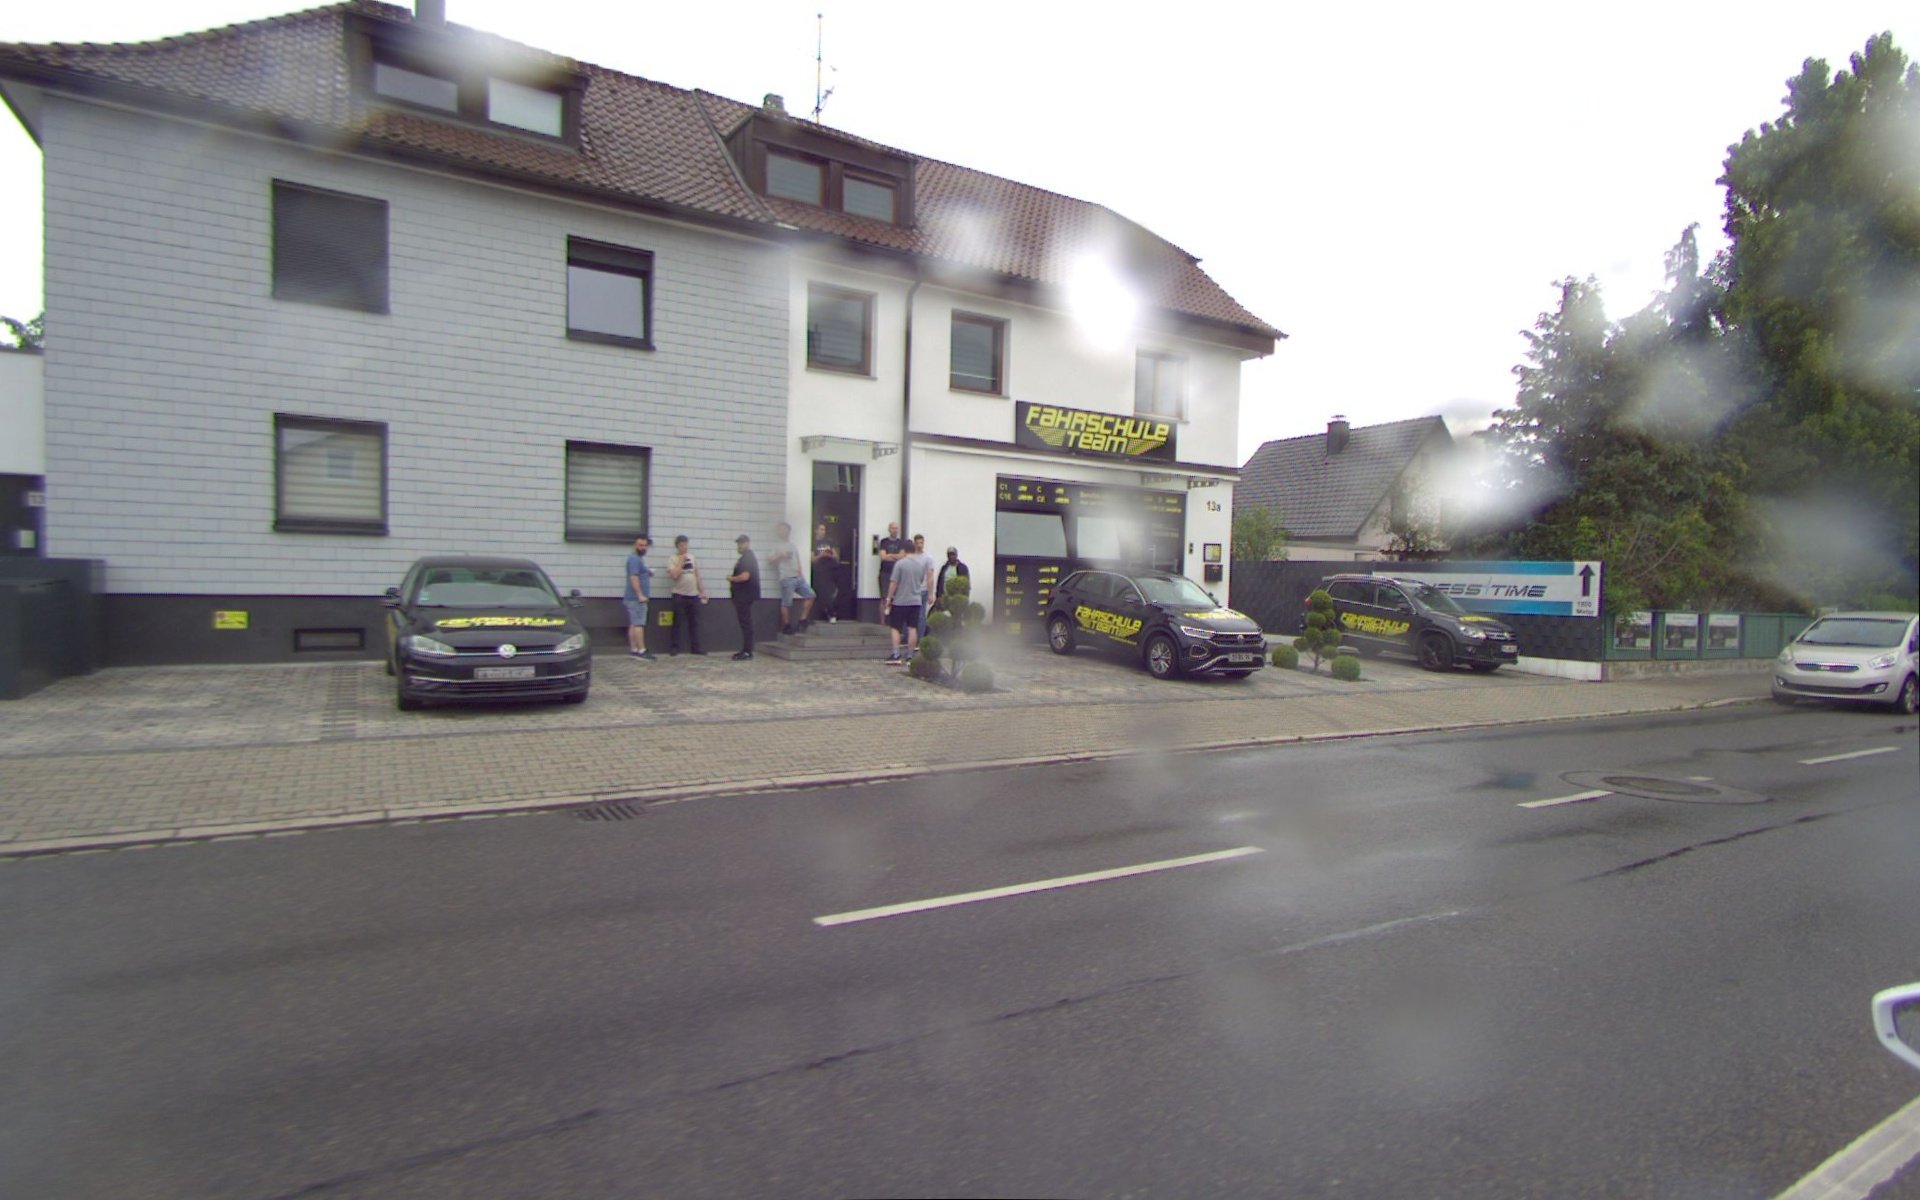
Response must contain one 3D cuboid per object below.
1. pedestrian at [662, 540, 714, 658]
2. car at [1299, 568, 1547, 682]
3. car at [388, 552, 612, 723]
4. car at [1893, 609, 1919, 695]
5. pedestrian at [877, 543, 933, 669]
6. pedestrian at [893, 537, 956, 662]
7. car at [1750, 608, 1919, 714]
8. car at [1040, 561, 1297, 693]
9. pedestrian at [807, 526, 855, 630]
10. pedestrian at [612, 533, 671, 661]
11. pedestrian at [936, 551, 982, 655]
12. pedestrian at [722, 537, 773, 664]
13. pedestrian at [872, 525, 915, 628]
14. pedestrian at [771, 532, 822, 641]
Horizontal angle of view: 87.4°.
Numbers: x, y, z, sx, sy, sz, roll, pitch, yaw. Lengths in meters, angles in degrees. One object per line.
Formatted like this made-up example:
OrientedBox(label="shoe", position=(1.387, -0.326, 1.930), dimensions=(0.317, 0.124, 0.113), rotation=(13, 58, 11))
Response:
OrientedBox(label="pedestrian", position=(-4.106, -0.022, 15.152), dimensions=(0.556, 1.731, 0.583), rotation=(1, 4, -32))
OrientedBox(label="car", position=(8.982, 0.400, 19.871), dimensions=(1.718, 1.744, 4.161), rotation=(1, 5, -29))
OrientedBox(label="car", position=(-5.174, 0.268, 11.009), dimensions=(1.862, 1.439, 3.968), rotation=(1, 3, -30))
OrientedBox(label="car", position=(21.129, 1.102, 20.521), dimensions=(4.545, 1.691, 1.796), rotation=(2, 0, -30))
OrientedBox(label="pedestrian", position=(-0.822, 0.080, 14.939), dimensions=(0.532, 1.813, 0.666), rotation=(1, 4, -26))
OrientedBox(label="pedestrian", position=(-0.571, -0.020, 15.781), dimensions=(0.677, 1.892, 0.730), rotation=(1, 4, -25))
OrientedBox(label="car", position=(15.471, 0.989, 17.097), dimensions=(4.094, 1.589, 1.796), rotation=(2, 0, -30))
OrientedBox(label="car", position=(3.185, 0.309, 16.178), dimensions=(1.850, 1.586, 3.968), rotation=(0, 6, -29))
OrientedBox(label="pedestrian", position=(-2.152, -0.368, 16.760), dimensions=(0.545, 1.693, 0.570), rotation=(1, 4, -32))
OrientedBox(label="pedestrian", position=(-4.544, -0.045, 14.325), dimensions=(0.681, 1.777, 0.444), rotation=(1, 4, -30))
OrientedBox(label="pedestrian", position=(-0.016, 0.036, 16.938), dimensions=(0.677, 1.693, 0.676), rotation=(3, 3, -1))
OrientedBox(label="pedestrian", position=(-3.092, -0.008, 14.647), dimensions=(0.635, 1.811, 0.653), rotation=(1, 3, -6))
OrientedBox(label="pedestrian", position=(-1.119, -0.399, 16.930), dimensions=(0.505, 1.693, 0.514), rotation=(1, 4, -25))
OrientedBox(label="pedestrian", position=(-2.618, -0.221, 16.036), dimensions=(0.569, 1.693, 0.579), rotation=(1, 4, -32))
